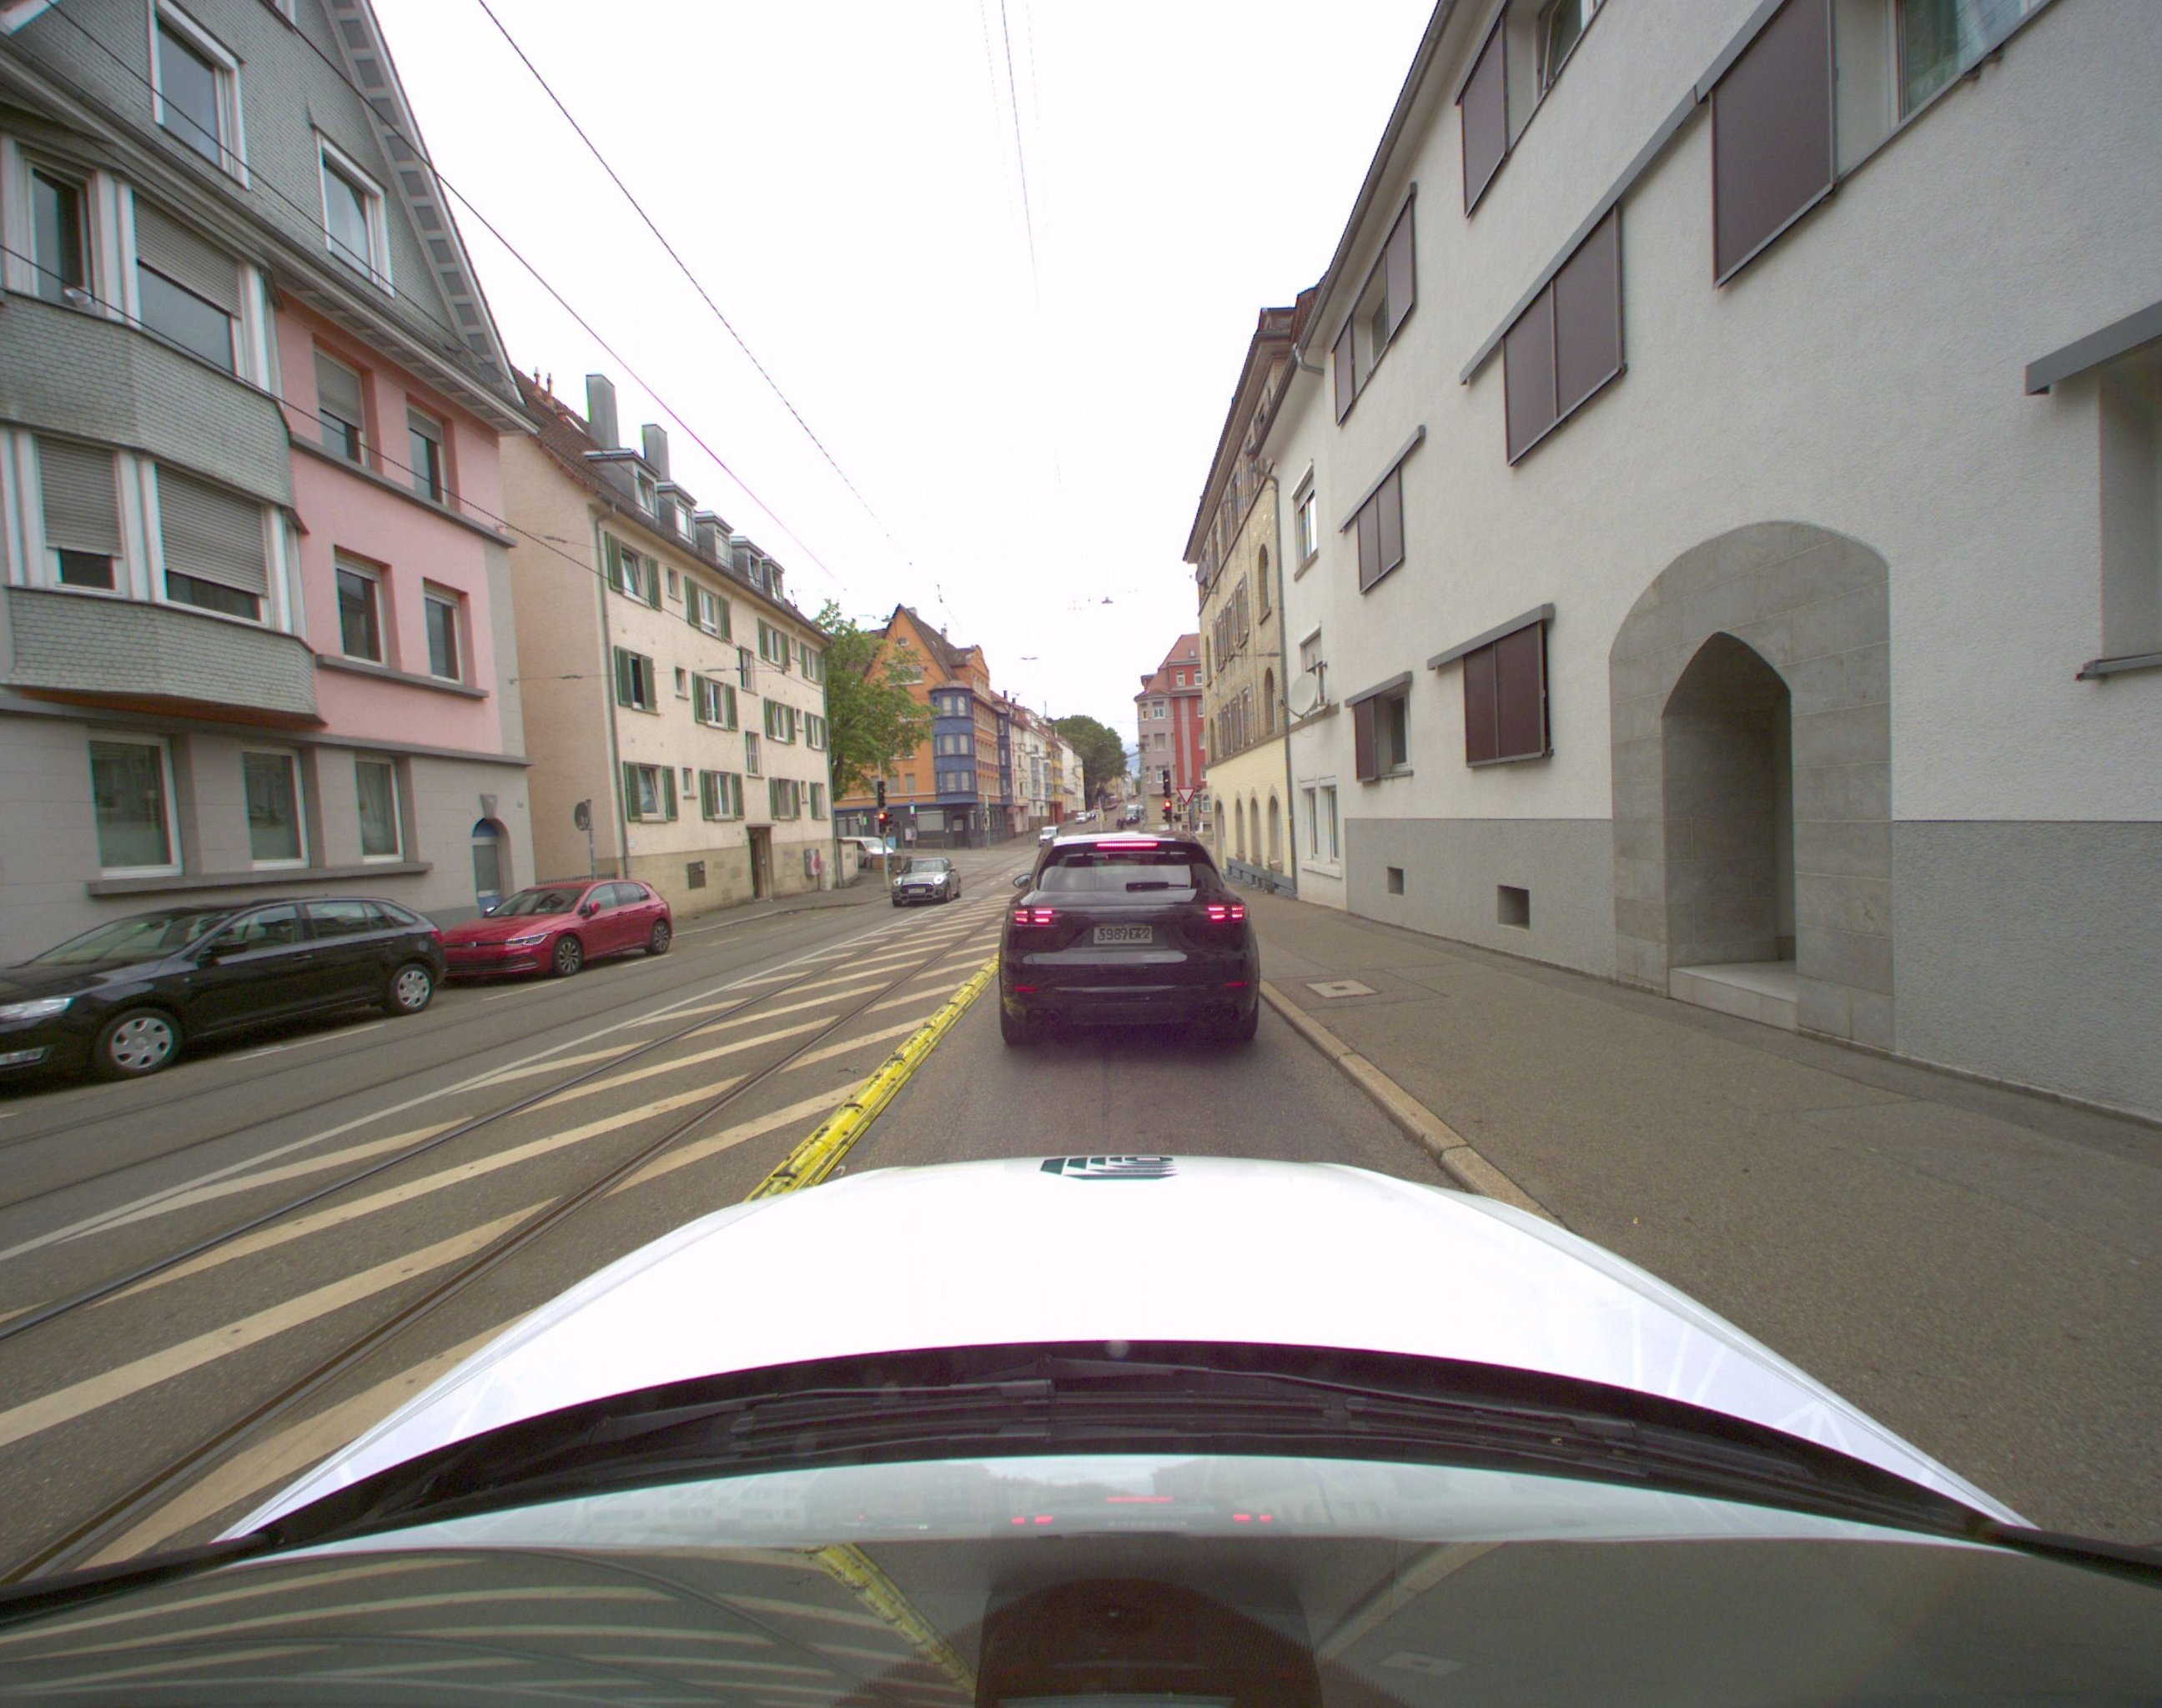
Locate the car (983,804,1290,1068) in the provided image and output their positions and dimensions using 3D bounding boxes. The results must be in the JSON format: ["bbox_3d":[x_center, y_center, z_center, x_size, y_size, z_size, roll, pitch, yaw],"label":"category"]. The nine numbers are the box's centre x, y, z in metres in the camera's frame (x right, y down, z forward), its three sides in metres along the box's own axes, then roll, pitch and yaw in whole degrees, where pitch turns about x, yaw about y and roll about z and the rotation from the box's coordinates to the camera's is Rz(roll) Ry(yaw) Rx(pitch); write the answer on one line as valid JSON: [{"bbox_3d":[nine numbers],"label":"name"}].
[{"bbox_3d":[0.425,0.536,7.511,1.986,1.675,4.001,-3,0,1],"label":"car"}]

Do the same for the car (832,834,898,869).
[{"bbox_3d":[-14.247,-0.152,53.704,4.185,2.117,2.013,-2,1,38],"label":"car"}]

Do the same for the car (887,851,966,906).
[{"bbox_3d":[-4.813,0.711,25.839,1.627,1.508,3.542,-3,0,2],"label":"car"}]

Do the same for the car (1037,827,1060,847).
[{"bbox_3d":[-3.058,-1.611,77.567,1.744,1.759,4.256,-3,0,2],"label":"car"}]

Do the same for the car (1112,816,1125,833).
[{"bbox_3d":[4.259,-3.351,93.548,1.389,1.722,3.361,-3,0,2],"label":"car"}]

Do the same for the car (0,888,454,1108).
[{"bbox_3d":[-8.679,1.194,8.024,1.729,1.410,4.002,-3,0,2],"label":"car"}]

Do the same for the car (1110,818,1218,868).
[{"bbox_3d":[4.367,-0.505,43.102,5.238,2.241,2.012,-3,-5,29],"label":"car"}]

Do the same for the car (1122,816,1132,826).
[{"bbox_3d":[7.101,-5.037,125.195,1.389,1.450,3.361,-3,0,2],"label":"car"}]

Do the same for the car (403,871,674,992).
[{"bbox_3d":[-8.575,1.118,13.371,1.615,1.490,4.047,-4,0,0],"label":"car"}]

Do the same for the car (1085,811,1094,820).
[{"bbox_3d":[1.552,-7.147,151.275,1.389,1.450,3.361,-3,0,2],"label":"car"}]

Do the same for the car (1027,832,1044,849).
[{"bbox_3d":[-4.893,-1.430,87.294,1.389,1.722,3.361,-3,0,2],"label":"car"}]

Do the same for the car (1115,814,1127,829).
[{"bbox_3d":[4.945,-3.962,100.347,1.389,1.722,3.361,-3,0,2],"label":"car"}]

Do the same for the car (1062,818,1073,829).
[{"bbox_3d":[-2.041,-4.646,123.818,1.389,1.450,3.361,-3,0,2],"label":"car"}]
